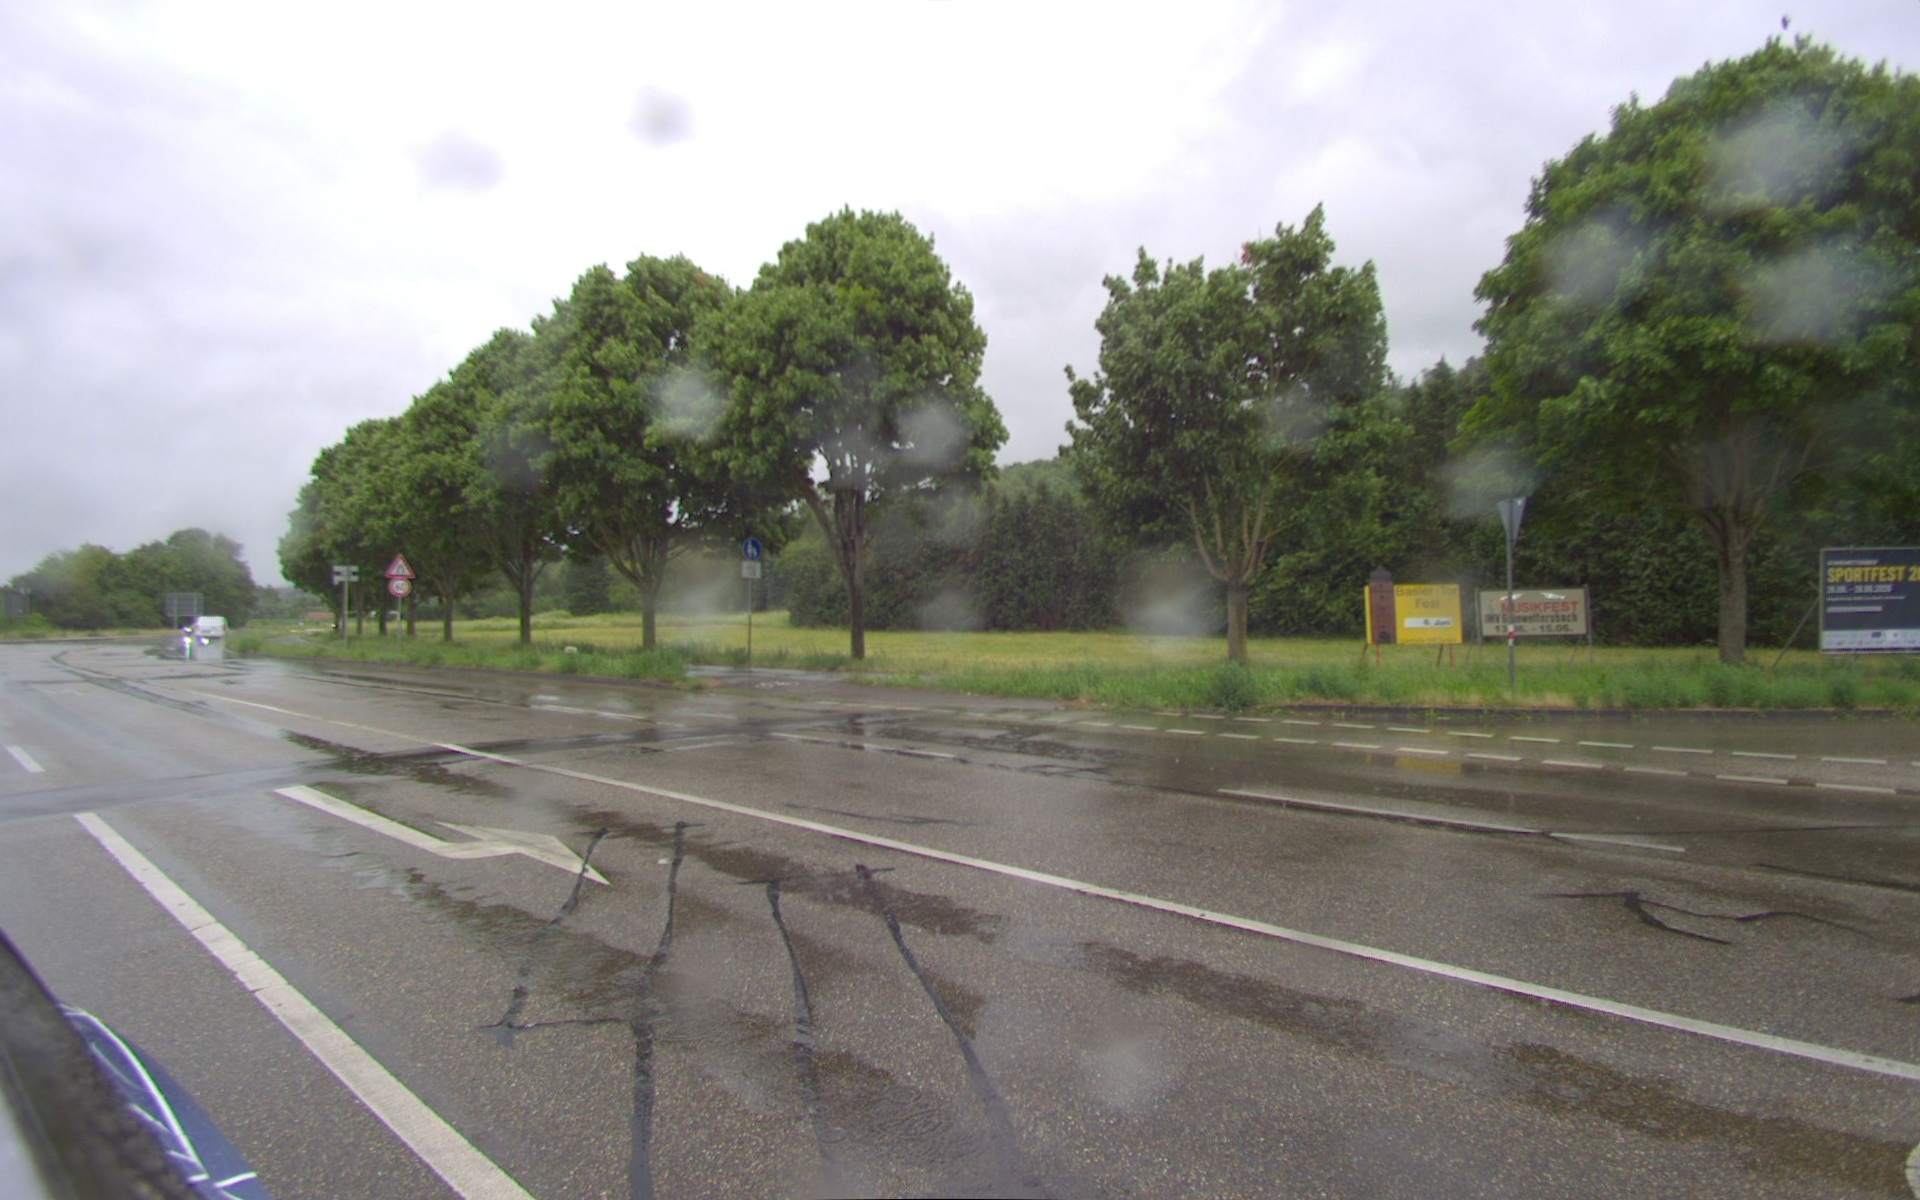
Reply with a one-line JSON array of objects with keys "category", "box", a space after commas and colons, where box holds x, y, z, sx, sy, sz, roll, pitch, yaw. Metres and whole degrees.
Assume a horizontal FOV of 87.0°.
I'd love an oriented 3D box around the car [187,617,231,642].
[{"category": "car", "box": [-59.364, 2.308, 80.091, 2.077, 1.907, 4.806, 0, -1, -27]}]
